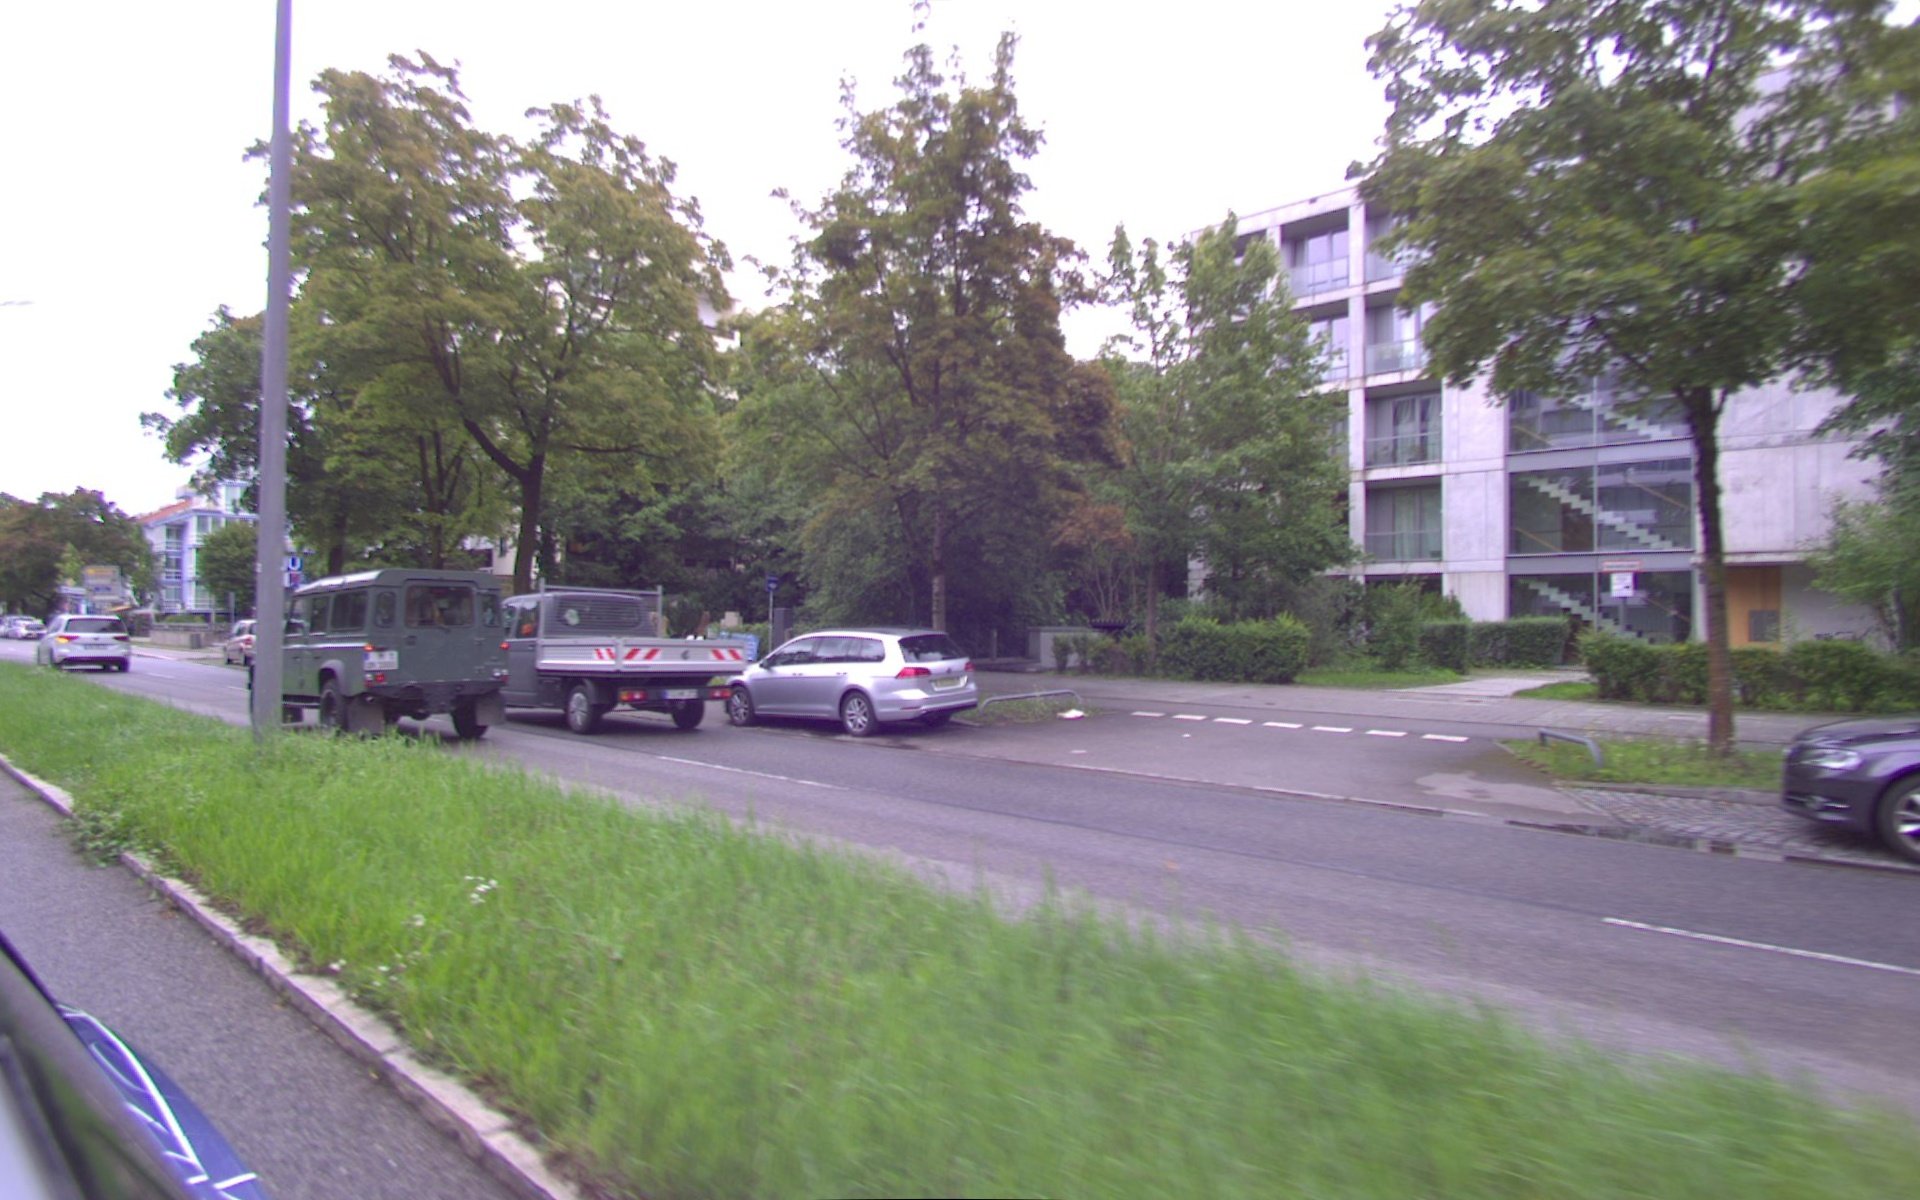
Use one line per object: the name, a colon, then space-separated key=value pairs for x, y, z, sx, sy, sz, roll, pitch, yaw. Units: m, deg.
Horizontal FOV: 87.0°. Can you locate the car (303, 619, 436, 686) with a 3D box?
car: x=-16.491 y=1.405 z=28.184 sx=4.602 sy=1.664 sz=1.721 roll=-1 pitch=0 yaw=40

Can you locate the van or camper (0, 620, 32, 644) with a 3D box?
van or camper: x=-82.396 y=2.783 z=88.051 sx=5.208 sy=1.983 sz=1.786 roll=-1 pitch=-3 yaw=41

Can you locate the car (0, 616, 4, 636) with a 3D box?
car: x=-97.226 y=2.592 z=101.283 sx=4.545 sy=2.013 sz=1.777 roll=-1 pitch=-2 yaw=42

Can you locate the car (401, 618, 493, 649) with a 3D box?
car: x=-26.972 y=1.771 z=53.302 sx=1.748 sy=1.601 sz=3.943 roll=-2 pitch=-3 yaw=42

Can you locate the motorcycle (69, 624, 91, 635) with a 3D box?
motorcycle: x=-99.150 y=3.356 z=113.973 sx=0.463 sy=1.179 sz=1.792 roll=-1 pitch=-2 yaw=36

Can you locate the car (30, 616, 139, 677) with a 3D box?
car: x=-25.992 y=1.345 z=29.998 sx=4.348 sy=1.655 sz=1.815 roll=-1 pitch=-3 yaw=41

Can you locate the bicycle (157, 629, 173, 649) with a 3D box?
bicycle: x=-44.108 y=2.153 z=56.152 sx=1.955 sy=1.086 sz=0.403 roll=-2 pitch=1 yaw=44

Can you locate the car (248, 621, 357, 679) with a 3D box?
car: x=-20.807 y=1.519 z=31.942 sx=4.683 sy=1.656 sz=1.720 roll=-1 pitch=-1 yaw=42

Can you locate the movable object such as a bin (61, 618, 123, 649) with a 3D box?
movable object such as a bin: x=-56.940 y=2.161 z=66.342 sx=3.991 sy=1.968 sz=2.173 roll=-1 pitch=-2 yaw=36

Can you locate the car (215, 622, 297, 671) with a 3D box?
car: x=-24.981 y=1.613 z=35.850 sx=3.819 sy=1.626 sz=1.629 roll=-1 pitch=-1 yaw=43

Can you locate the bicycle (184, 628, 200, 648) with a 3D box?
bicycle: x=-43.307 y=2.144 z=57.059 sx=1.955 sy=1.080 sz=0.403 roll=-2 pitch=1 yaw=44

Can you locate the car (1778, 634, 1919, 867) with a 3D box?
car: x=7.863 y=0.977 z=6.212 sx=4.360 sy=1.434 sz=1.564 roll=-1 pitch=1 yaw=41

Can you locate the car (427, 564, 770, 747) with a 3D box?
car: x=-5.530 y=0.772 z=15.006 sx=5.796 sy=2.211 sz=2.186 roll=-1 pitch=-4 yaw=41

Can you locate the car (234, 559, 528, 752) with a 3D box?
car: x=-7.547 y=0.655 z=12.966 sx=4.816 sy=2.045 sz=1.762 roll=-1 pitch=-3 yaw=41

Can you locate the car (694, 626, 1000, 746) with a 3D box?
car: x=-1.829 y=1.153 z=15.107 sx=4.820 sy=1.459 sz=1.718 roll=-1 pitch=0 yaw=41

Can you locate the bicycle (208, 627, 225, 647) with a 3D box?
bicycle: x=-42.650 y=2.113 z=58.020 sx=1.955 sy=1.112 sz=0.403 roll=-2 pitch=1 yaw=44

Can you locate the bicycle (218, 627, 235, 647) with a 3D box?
bicycle: x=-42.317 y=2.116 z=58.411 sx=1.955 sy=1.105 sz=0.403 roll=-2 pitch=1 yaw=44

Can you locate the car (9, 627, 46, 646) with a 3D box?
car: x=-74.823 y=2.924 z=81.202 sx=3.899 sy=1.501 sz=1.630 roll=-1 pitch=-3 yaw=40
